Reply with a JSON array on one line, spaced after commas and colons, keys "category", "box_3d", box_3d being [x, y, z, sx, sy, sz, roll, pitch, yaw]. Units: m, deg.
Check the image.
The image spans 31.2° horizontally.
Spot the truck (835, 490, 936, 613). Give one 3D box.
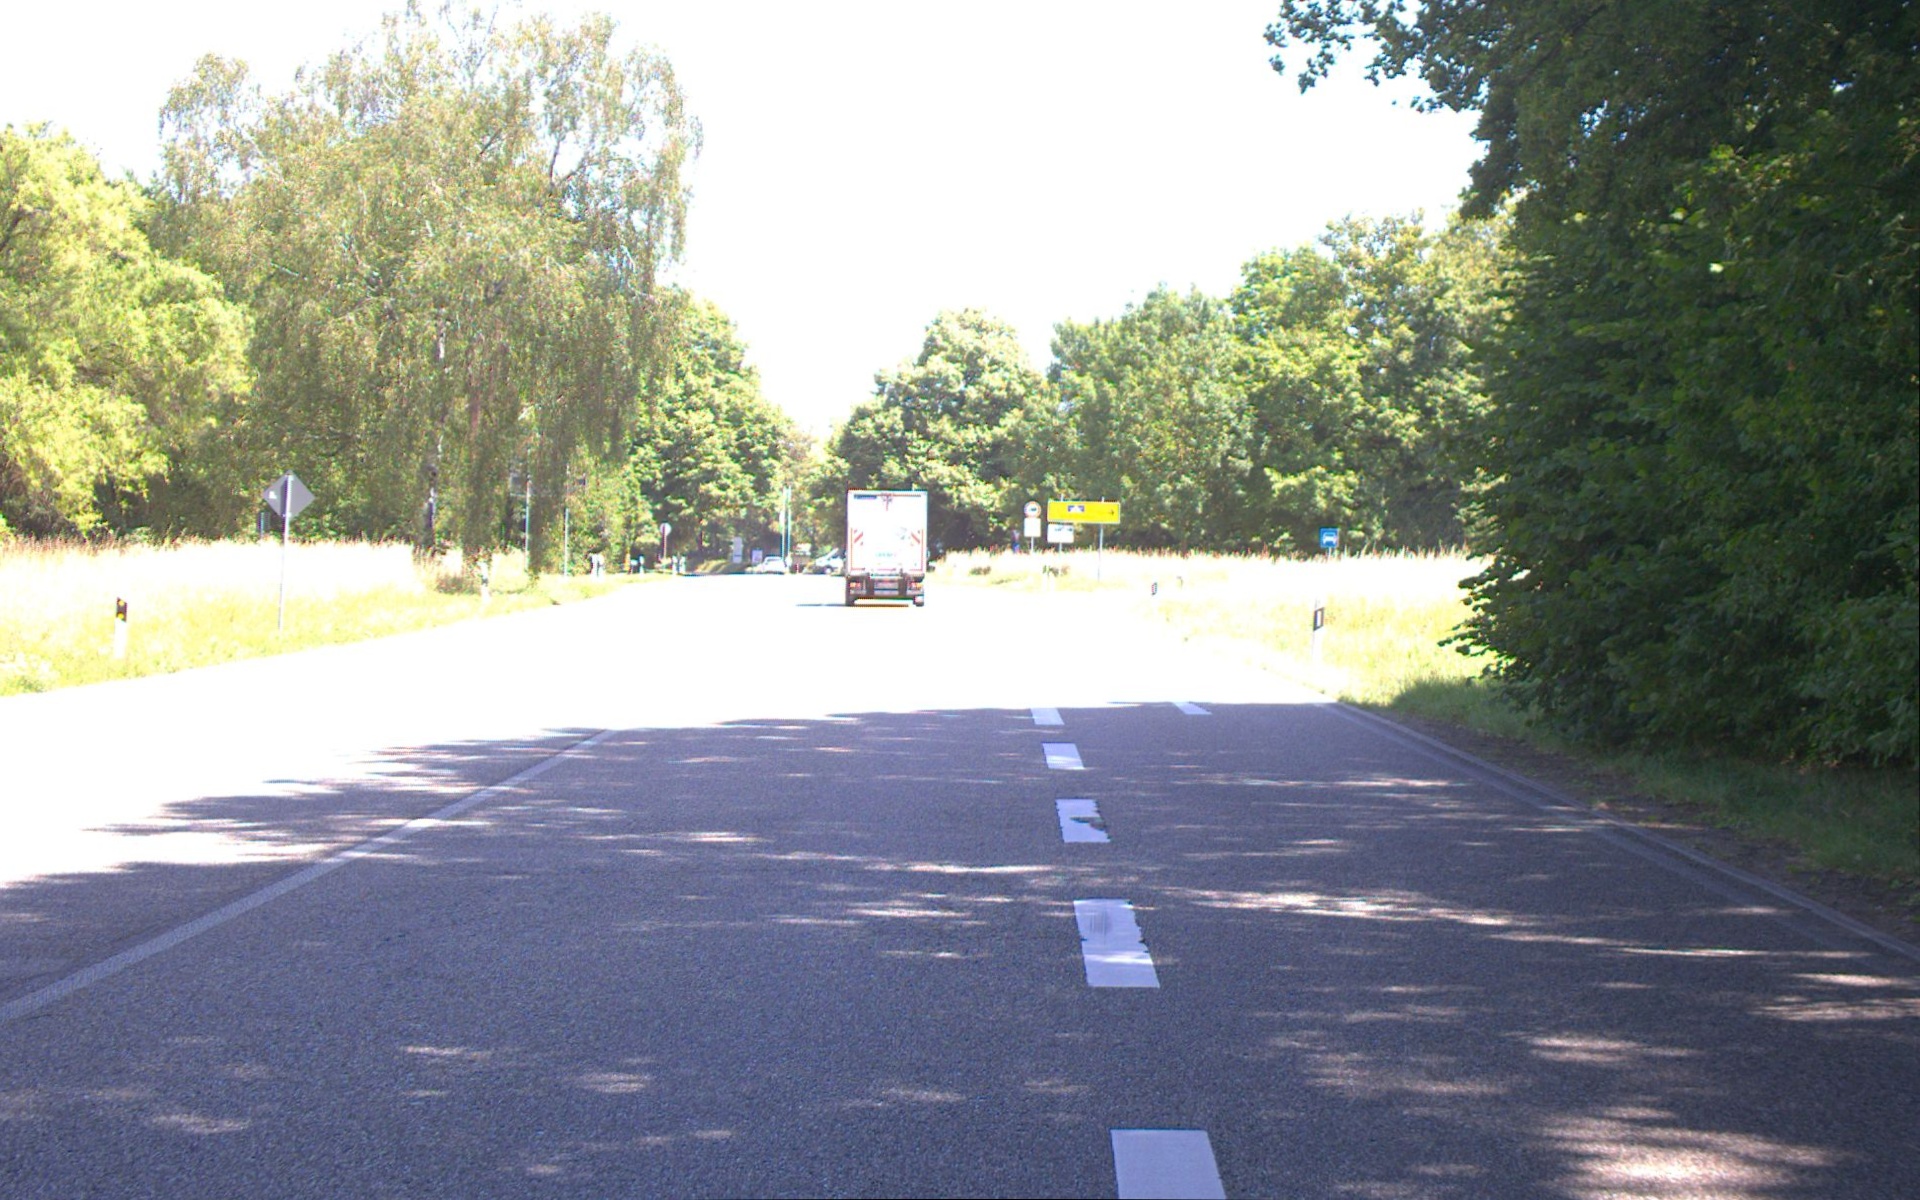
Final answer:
[{"category": "truck", "box_3d": [-1.912, -1.284, 89.867, 2.533, 3.124, 5.361, 0, 1, 0]}]
